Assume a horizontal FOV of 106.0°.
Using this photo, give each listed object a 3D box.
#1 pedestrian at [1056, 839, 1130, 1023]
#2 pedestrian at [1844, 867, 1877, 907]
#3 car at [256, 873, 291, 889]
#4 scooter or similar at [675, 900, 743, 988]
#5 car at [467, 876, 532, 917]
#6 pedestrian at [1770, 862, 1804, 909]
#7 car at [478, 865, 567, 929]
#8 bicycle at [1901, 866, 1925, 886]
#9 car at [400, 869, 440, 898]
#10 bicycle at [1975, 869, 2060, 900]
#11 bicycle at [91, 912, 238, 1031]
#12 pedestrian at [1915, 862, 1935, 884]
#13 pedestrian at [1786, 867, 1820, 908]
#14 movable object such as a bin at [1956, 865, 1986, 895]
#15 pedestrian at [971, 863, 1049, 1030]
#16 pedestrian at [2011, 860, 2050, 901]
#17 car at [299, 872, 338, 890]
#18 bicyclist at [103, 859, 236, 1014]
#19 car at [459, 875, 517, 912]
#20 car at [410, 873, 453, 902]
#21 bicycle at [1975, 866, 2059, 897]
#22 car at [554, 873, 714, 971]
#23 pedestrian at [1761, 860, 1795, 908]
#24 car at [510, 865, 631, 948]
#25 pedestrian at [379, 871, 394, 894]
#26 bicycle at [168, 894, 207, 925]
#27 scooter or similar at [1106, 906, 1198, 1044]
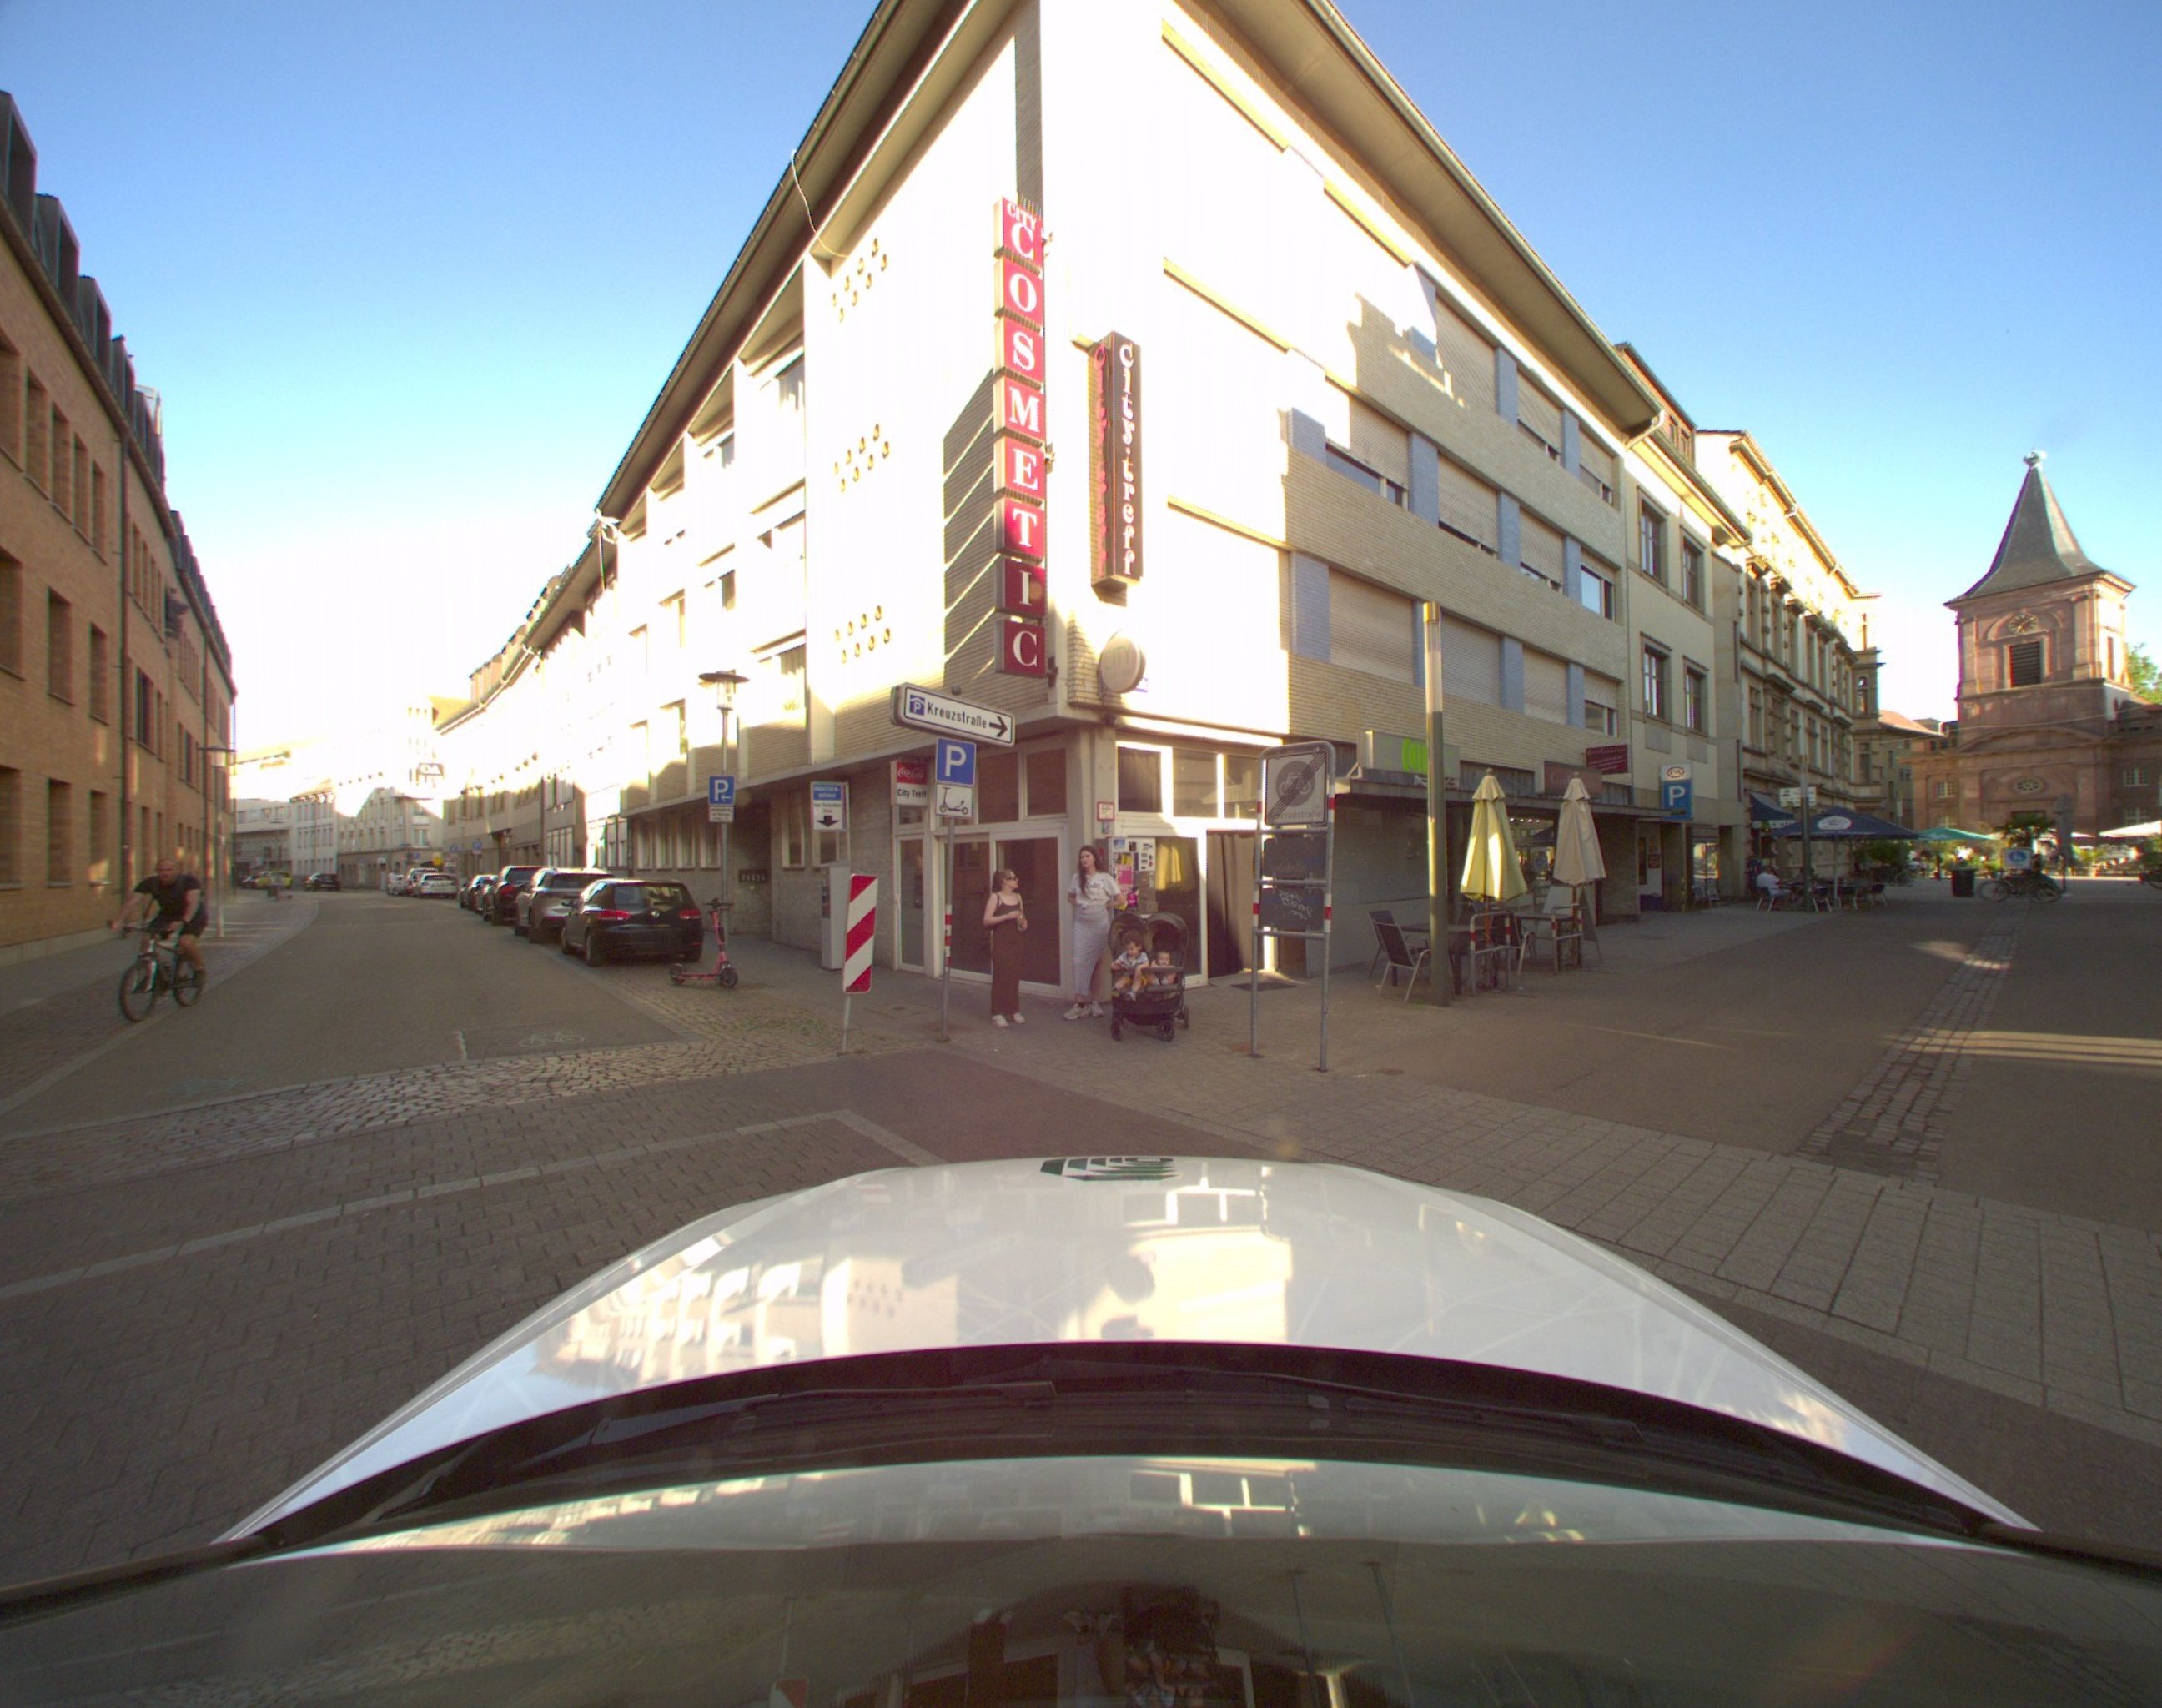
[{"bbox_3d":[0.127,0.774,8.499,0.655,1.819,0.571,-3,0,1],"label":"pedestrian"},{"bbox_3d":[23.924,1.006,25.005,0.685,1.215,0.587,-1,-1,42],"label":"pedestrian"},{"bbox_3d":[-84.097,2.777,84.846,3.787,1.651,1.948,-1,-2,35],"label":"car"},{"bbox_3d":[-5.153,1.239,11.281,0.874,1.184,0.209,-1,-1,9],"label":"scooter or similar"},{"bbox_3d":[-20.956,1.509,29.315,1.528,1.391,3.582,3,-3,-41],"label":"car"},{"bbox_3d":[21.142,0.928,24.409,0.710,1.368,0.715,-1,-1,38],"label":"pedestrian"},{"bbox_3d":[-16.477,1.232,23.965,1.682,1.705,3.965,3,-3,-41],"label":"car"},{"bbox_3d":[38.503,1.008,37.688,2.156,0.850,0.453,0,-1,-37],"label":"bicycle"},{"bbox_3d":[-42.698,1.913,52.582,1.703,1.776,3.611,3,-3,-43],"label":"car"},{"bbox_3d":[30.906,0.989,26.917,0.383,1.005,1.807,0,-1,-43],"label":"bicycle"},{"bbox_3d":[-10.596,1.298,9.494,0.708,1.103,1.807,-4,1,-36],"label":"bicycle"},{"bbox_3d":[49.401,1.105,47.659,0.722,1.218,0.695,0,-1,-34],"label":"pedestrian"},{"bbox_3d":[22.461,1.019,25.349,0.757,1.233,0.836,-1,-1,42],"label":"pedestrian"},{"bbox_3d":[32.813,0.945,30.034,0.376,1.074,0.715,0,-1,-41],"label":"movable object such as a bin"},{"bbox_3d":[-0.715,0.894,8.194,0.536,1.579,0.505,-3,0,-34],"label":"pedestrian"},{"bbox_3d":[34.667,0.956,29.744,0.734,1.464,0.876,0,-1,-39],"label":"pedestrian"},{"bbox_3d":[-70.838,2.503,75.680,3.787,1.651,1.948,-1,-1,35],"label":"car"},{"bbox_3d":[-10.595,0.909,9.513,0.776,1.655,0.946,-3,1,-35],"label":"bicyclist"},{"bbox_3d":[-23.932,1.573,32.825,1.528,1.391,3.582,3,-3,-41],"label":"car"},{"bbox_3d":[-38.643,1.965,48.439,1.703,1.679,3.465,3,-3,-43],"label":"car"},{"bbox_3d":[31.205,0.902,27.191,0.383,1.005,1.807,0,-1,-43],"label":"bicycle"},{"bbox_3d":[-8.143,1.122,14.687,1.750,1.486,3.766,3,-2,-41],"label":"car"},{"bbox_3d":[20.304,0.870,23.726,0.701,1.368,0.724,-1,-1,38],"label":"pedestrian"},{"bbox_3d":[-11.689,1.132,18.533,1.682,1.661,4.032,3,-3,-41],"label":"car"},{"bbox_3d":[-44.309,1.826,51.964,0.468,1.480,0.575,-1,-4,42],"label":"pedestrian"},{"bbox_3d":[-28.901,1.783,26.357,0.647,0.881,2.525,2,-2,-43],"label":"bicycle"},{"bbox_3d":[0.649,1.094,7.640,0.793,1.144,0.954,-1,0,2],"label":"scooter or similar"}]
